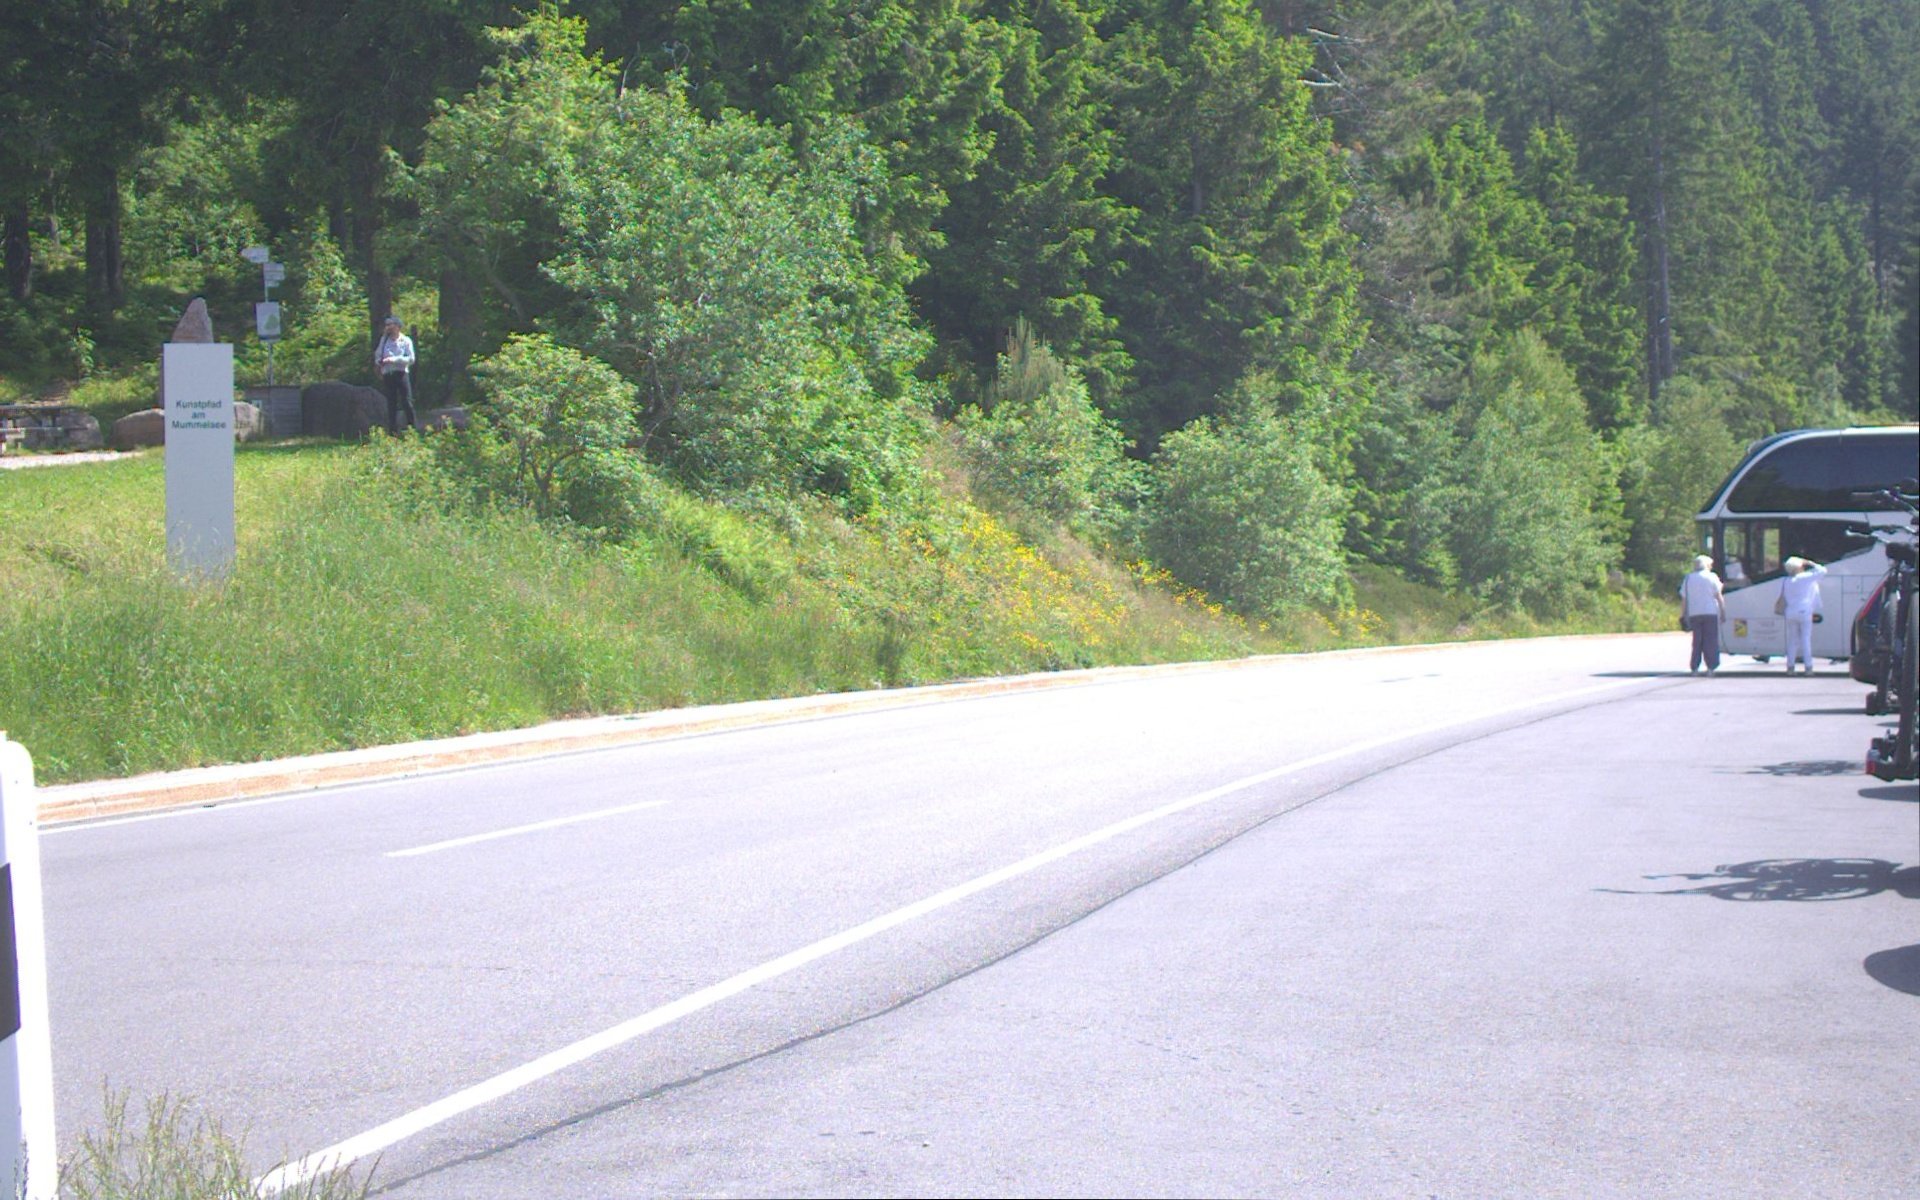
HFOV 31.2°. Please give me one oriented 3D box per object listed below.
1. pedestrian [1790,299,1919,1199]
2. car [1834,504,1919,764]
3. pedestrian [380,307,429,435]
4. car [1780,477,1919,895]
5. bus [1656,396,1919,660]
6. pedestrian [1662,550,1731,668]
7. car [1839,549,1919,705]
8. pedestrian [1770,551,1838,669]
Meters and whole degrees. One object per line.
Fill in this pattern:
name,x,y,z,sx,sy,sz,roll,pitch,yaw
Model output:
pedestrian,1.975,0.418,5.970,0.737,1.864,0.756,3,4,44
car,8.300,0.146,22.339,5.037,1.645,2.046,-1,0,14
pedestrian,-8.363,-3.438,51.769,0.540,1.871,0.682,-2,0,1
car,6.018,0.303,14.296,4.953,1.690,1.943,-1,1,16
bus,16.328,-1.093,46.584,13.110,3.520,3.040,-1,0,25
pedestrian,10.088,0.121,47.063,0.771,1.579,0.771,-1,0,21
car,10.452,0.206,32.739,3.989,1.444,1.860,-1,0,14
pedestrian,11.445,0.133,46.629,0.771,1.579,0.771,-1,0,21
